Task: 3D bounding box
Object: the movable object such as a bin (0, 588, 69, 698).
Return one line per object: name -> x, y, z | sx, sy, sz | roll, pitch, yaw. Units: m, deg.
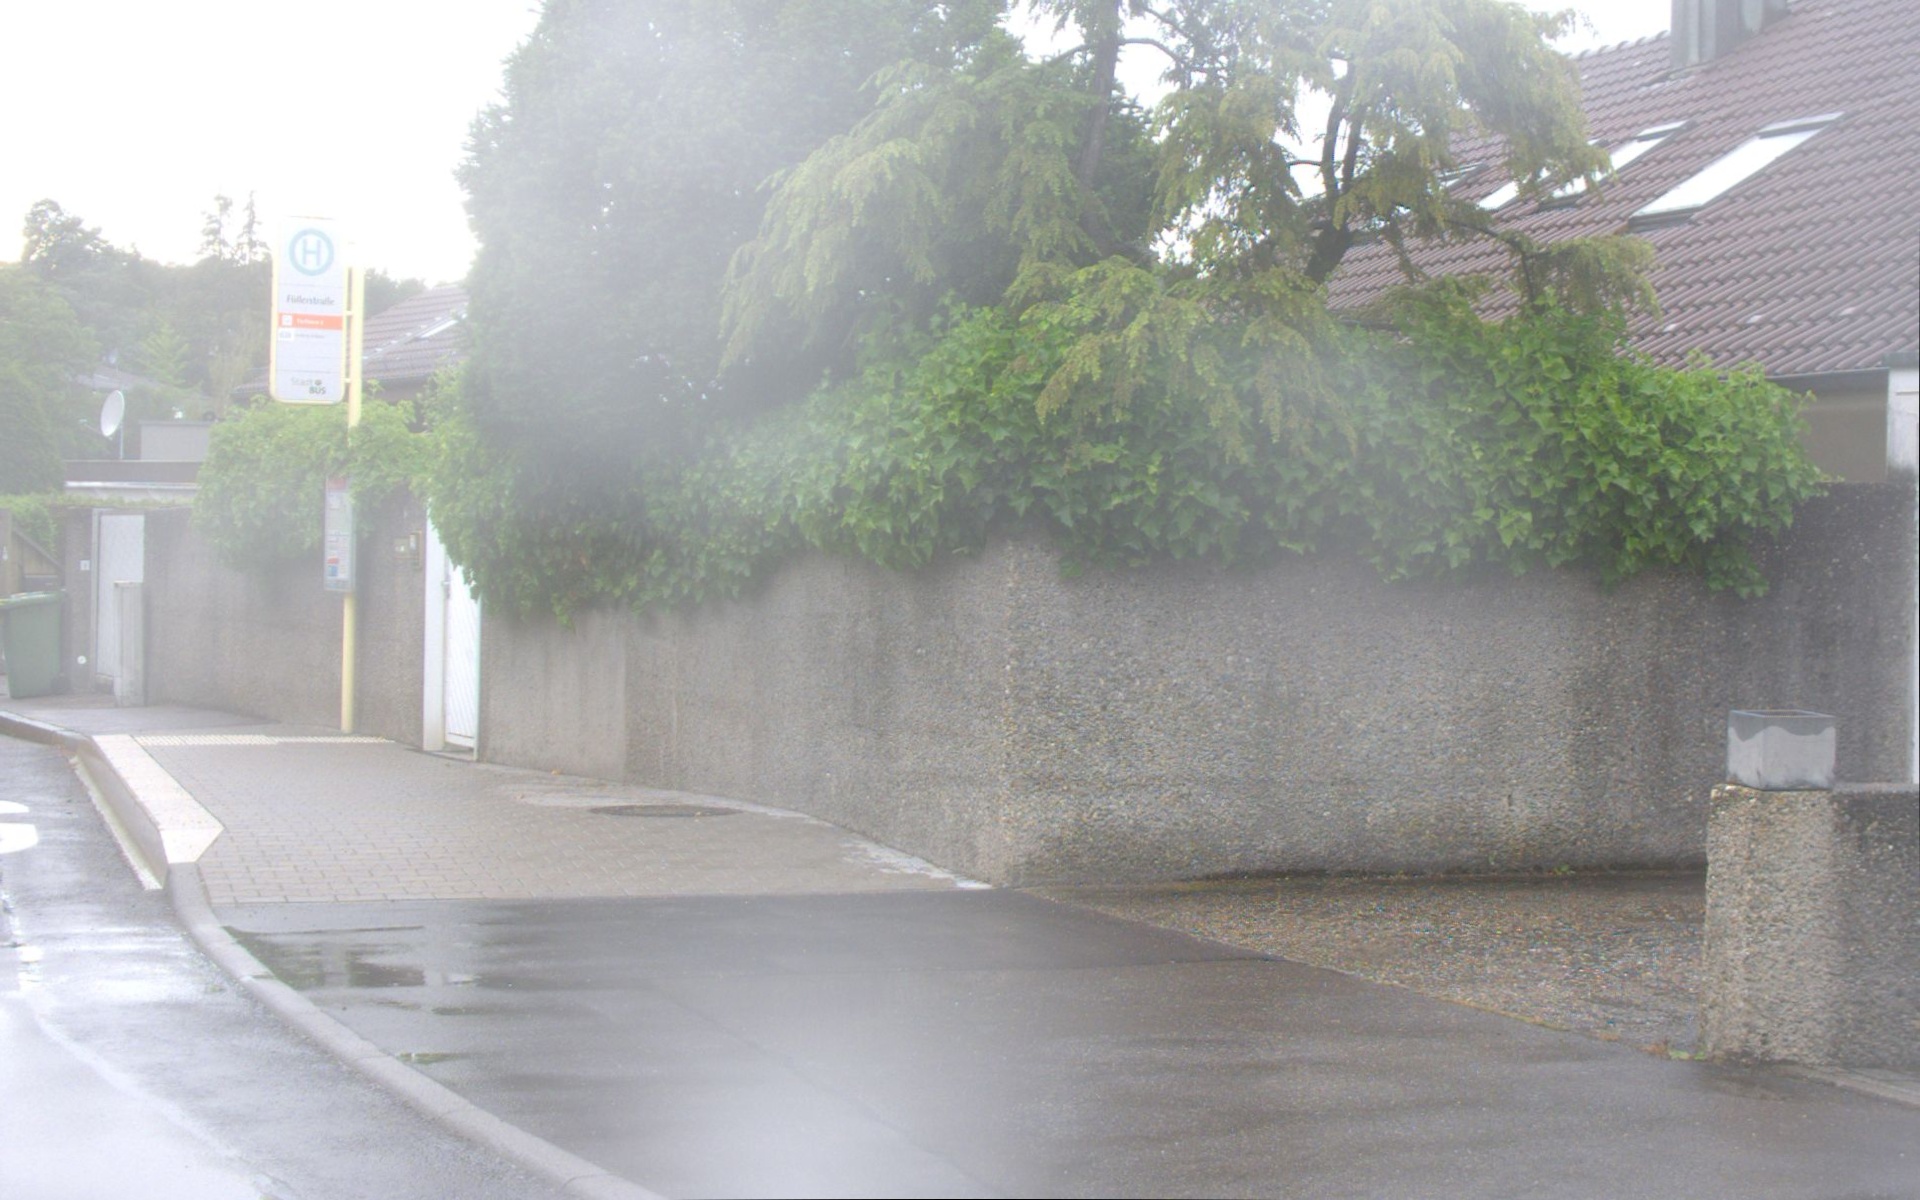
movable object such as a bin -> -9.552, 0.437, 35.194 | 0.738, 1.085, 0.600 | -2, 2, -21
